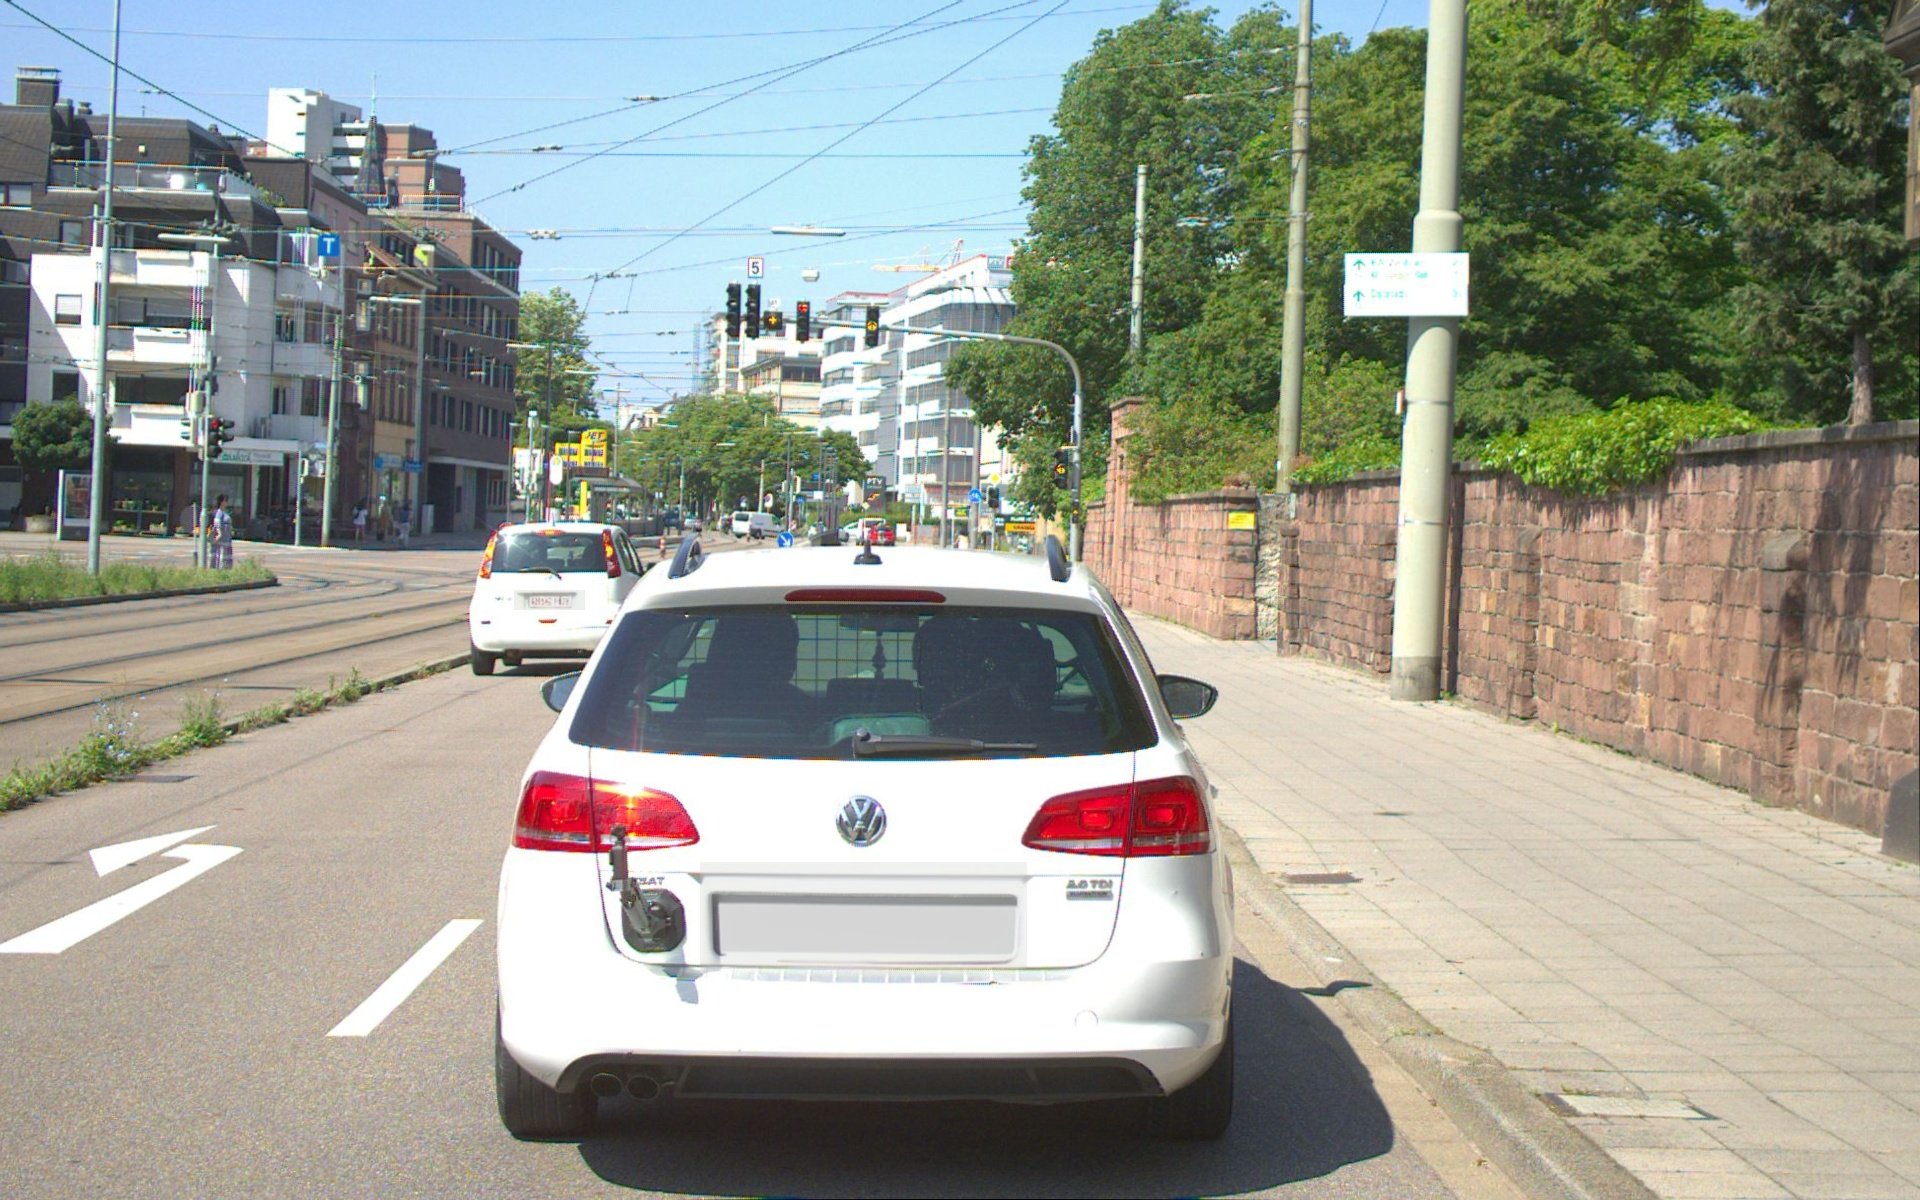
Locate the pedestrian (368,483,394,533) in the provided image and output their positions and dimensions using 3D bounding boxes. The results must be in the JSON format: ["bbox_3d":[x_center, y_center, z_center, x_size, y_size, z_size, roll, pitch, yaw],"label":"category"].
[{"bbox_3d":[-23.951,-3.810,142.275,0.936,2.007,0.991,2,1,-5],"label":"pedestrian"}]

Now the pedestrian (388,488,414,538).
[{"bbox_3d":[-22.648,-3.528,139.218,0.936,2.007,0.991,2,1,-6],"label":"pedestrian"}]

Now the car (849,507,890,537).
[{"bbox_3d":[-6.062,-5.244,230.170,1.993,1.897,4.001,2,1,-11],"label":"car"}]

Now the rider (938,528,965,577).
[{"bbox_3d":[-0.318,-1.738,124.586,0.891,1.722,2.204,2,1,-1],"label":"rider"}]

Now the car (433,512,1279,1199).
[{"bbox_3d":[-0.235,0.518,9.206,1.778,1.485,3.847,1,1,0],"label":"car"}]

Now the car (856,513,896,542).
[{"bbox_3d":[-6.045,-5.246,247.292,1.993,2.007,4.002,2,1,-15],"label":"car"}]

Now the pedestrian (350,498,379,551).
[{"bbox_3d":[-23.169,-2.934,133.715,0.936,2.007,0.991,3,1,-4],"label":"pedestrian"}]

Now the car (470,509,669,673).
[{"bbox_3d":[-4.057,-0.139,36.236,1.730,1.590,4.011,1,1,-2],"label":"car"}]

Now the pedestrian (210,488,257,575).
[{"bbox_3d":[-14.720,-1.385,69.679,0.826,1.733,0.932,2,1,-9],"label":"pedestrian"}]

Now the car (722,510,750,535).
[{"bbox_3d":[-14.378,-4.977,220.888,1.698,1.585,3.535,1,1,-2],"label":"car"}]
